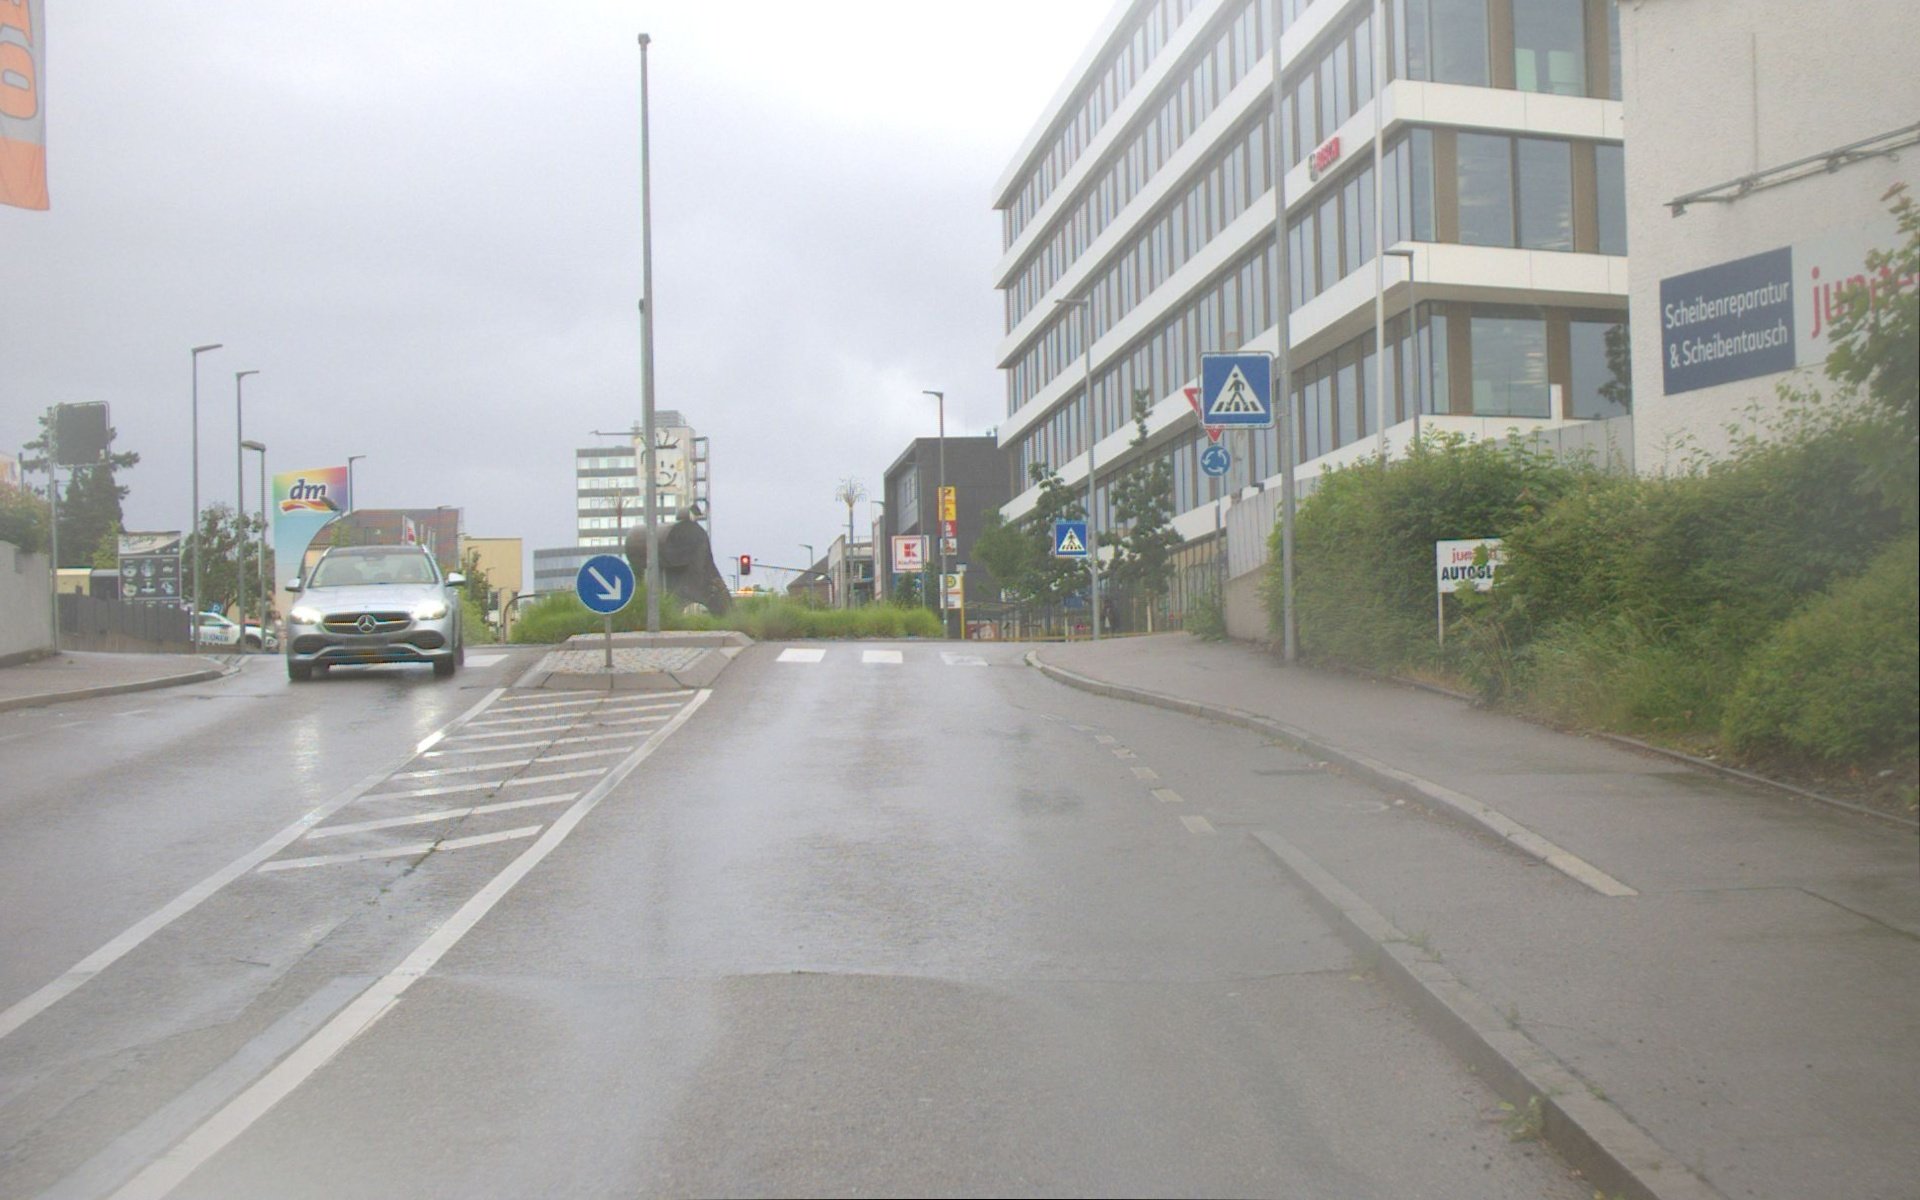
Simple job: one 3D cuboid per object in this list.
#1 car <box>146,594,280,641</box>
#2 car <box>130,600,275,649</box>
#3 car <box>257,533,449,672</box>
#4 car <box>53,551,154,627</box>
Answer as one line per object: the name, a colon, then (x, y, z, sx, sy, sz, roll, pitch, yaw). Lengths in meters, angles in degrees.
car: (-23.469, 0.567, 107.976, 4.020, 1.415, 1.769, 0, -2, -15)
car: (-23.152, 0.764, 105.074, 4.021, 1.415, 1.768, 1, -2, -27)
car: (-6.898, -0.024, 39.265, 2.000, 1.421, 4.783, -1, 2, -9)
car: (-23.656, -0.342, 95.116, 1.993, 2.007, 5.001, -1, 1, -6)
